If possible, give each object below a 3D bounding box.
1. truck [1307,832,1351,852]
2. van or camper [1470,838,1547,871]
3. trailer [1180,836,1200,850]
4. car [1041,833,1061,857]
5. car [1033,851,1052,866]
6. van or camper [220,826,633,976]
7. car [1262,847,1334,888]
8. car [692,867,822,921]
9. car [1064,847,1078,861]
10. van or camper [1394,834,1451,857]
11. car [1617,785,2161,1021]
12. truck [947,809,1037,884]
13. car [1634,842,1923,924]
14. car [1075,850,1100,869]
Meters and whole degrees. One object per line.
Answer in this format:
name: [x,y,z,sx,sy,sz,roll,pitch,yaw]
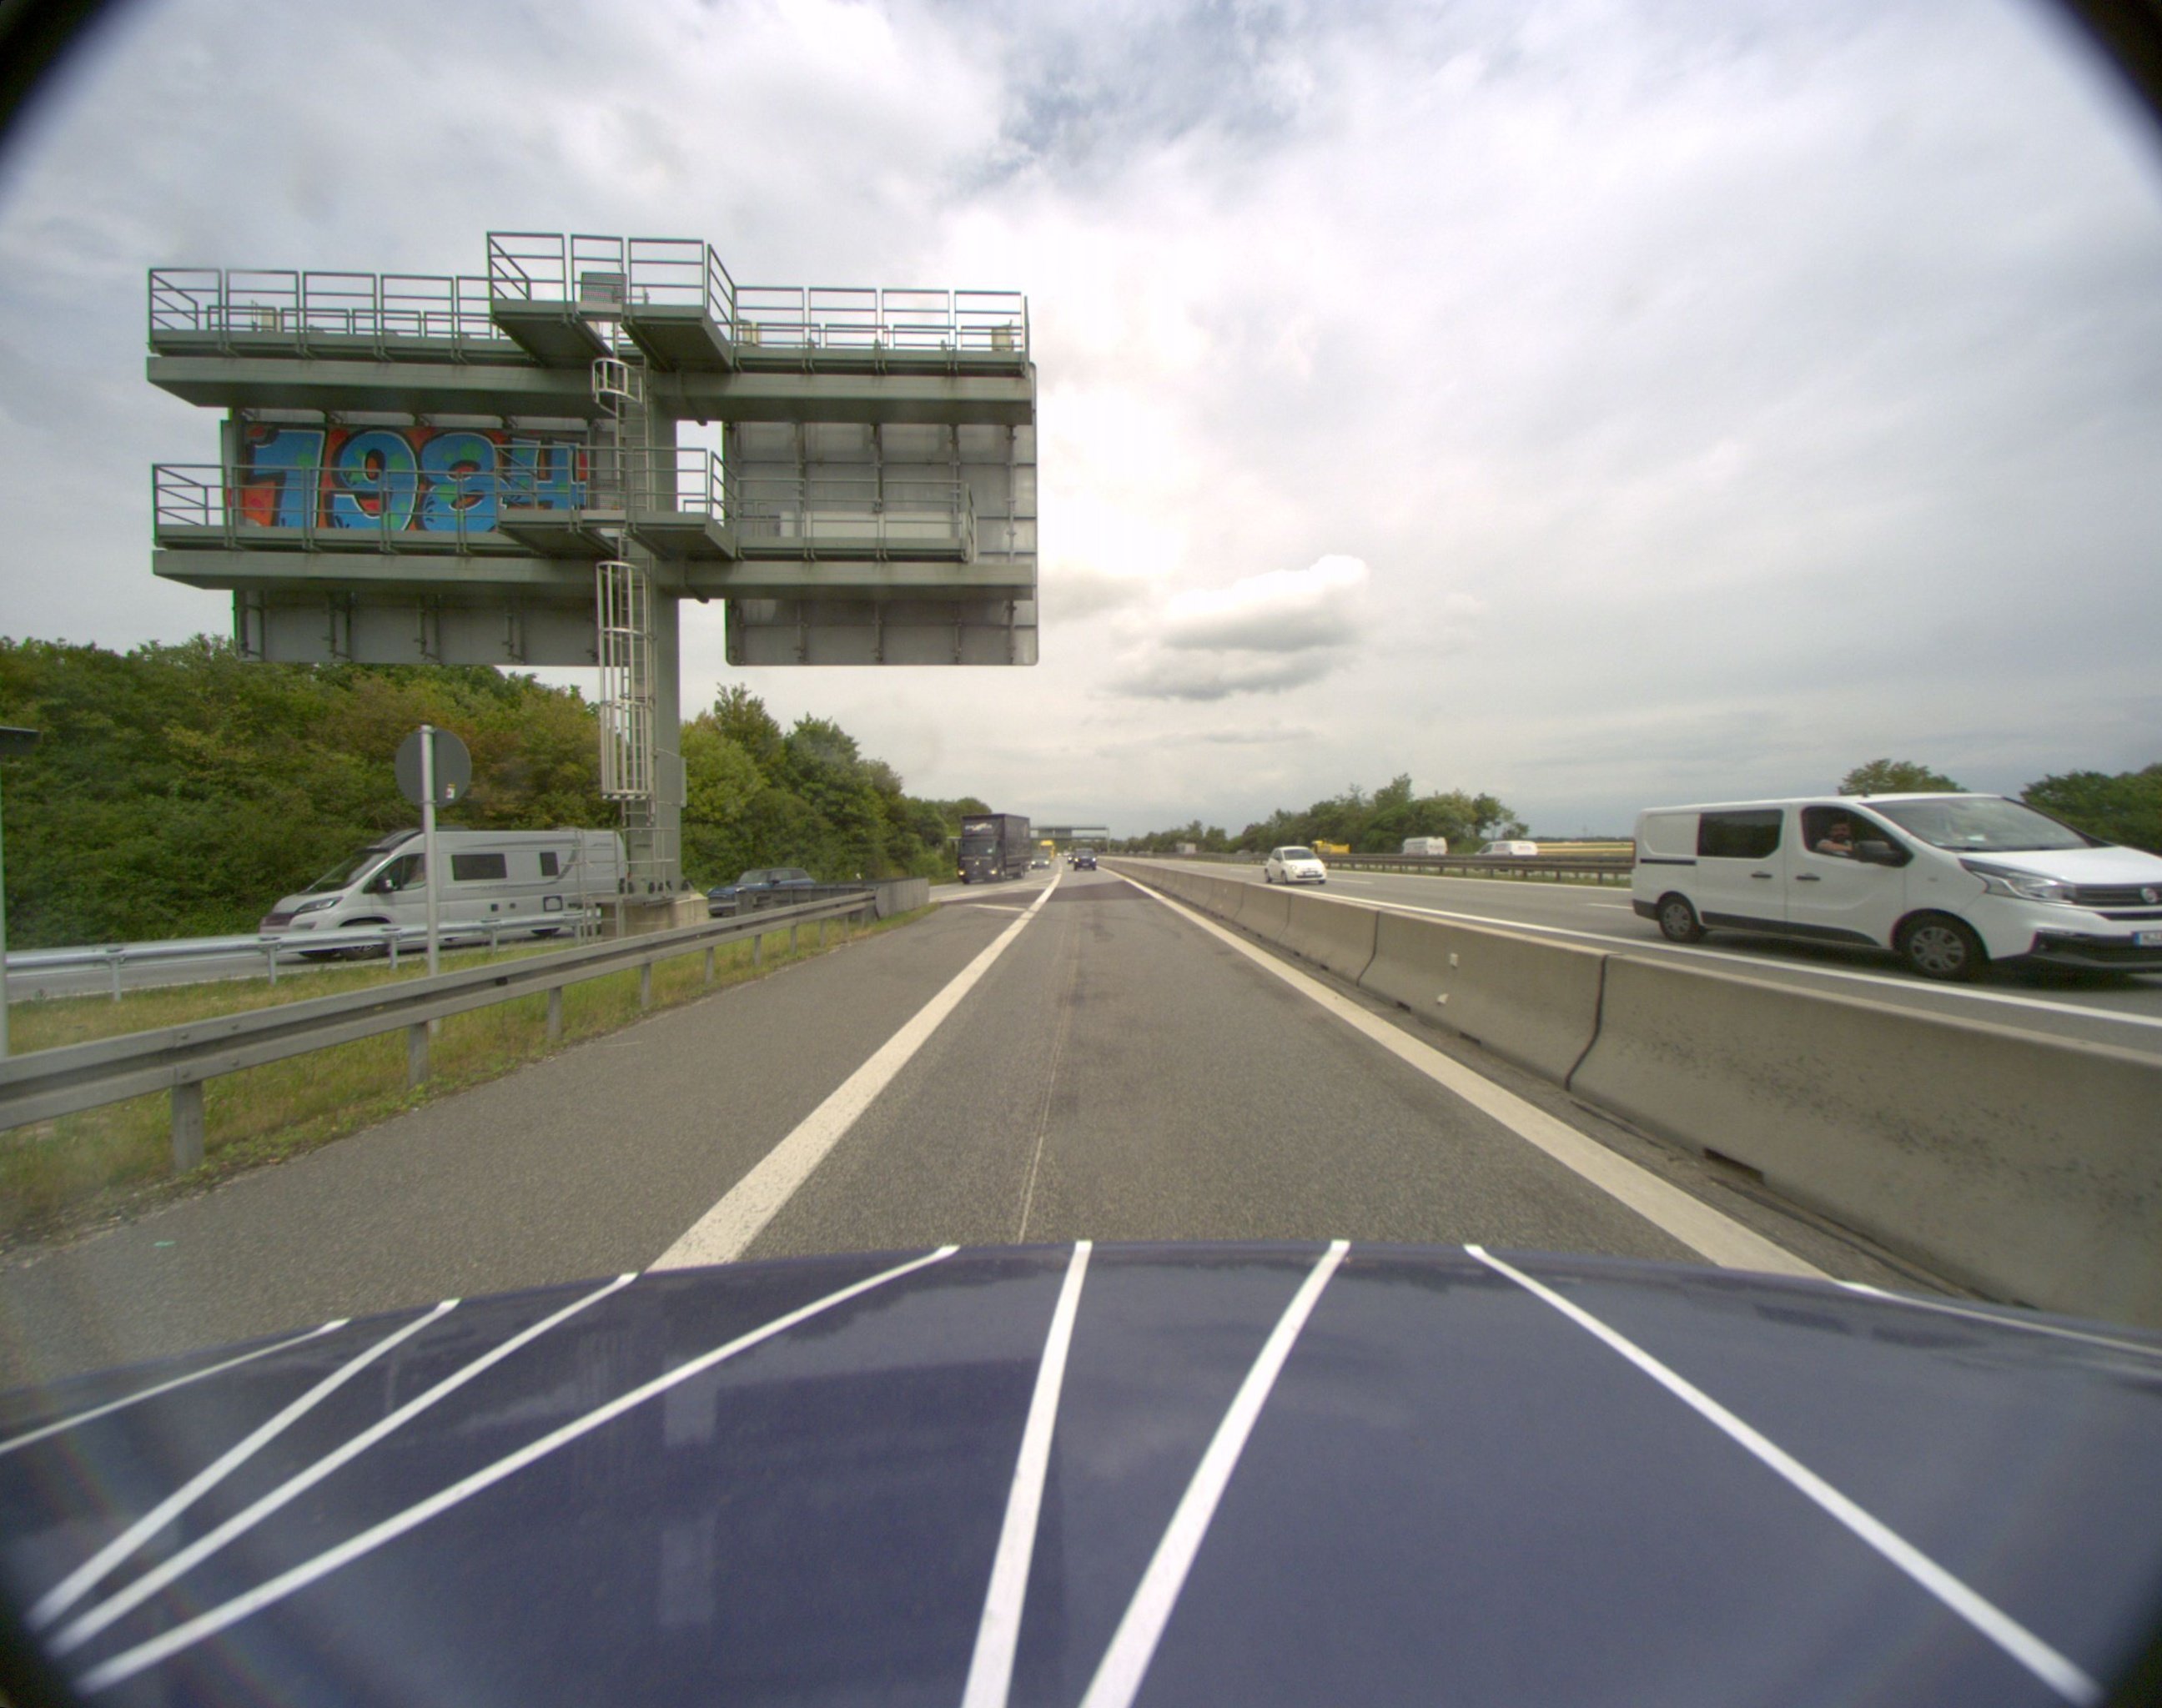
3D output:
truck: [35.090,-1.669,107.753,2.914,2.758,8.778,-2,1,-3]
van or camper: [25.001,0.012,44.638,1.999,1.818,4.346,-2,1,-1]
trailer: [27.983,-2.816,196.107,3.206,3.250,9.820,-2,1,-3]
car: [-5.855,-1.704,150.425,3.395,4.458,11.605,-2,1,1]
car: [-3.836,0.423,75.984,1.866,1.434,3.998,-2,1,-3]
van or camper: [-13.319,0.770,16.176,2.295,2.553,6.171,-1,1,28]
car: [8.680,0.495,30.728,1.685,1.476,3.773,-2,1,-2]
car: [-10.198,1.227,24.208,1.731,1.411,3.670,-2,1,20]
car: [-1.317,-0.016,103.092,1.785,1.761,4.000,-2,1,1]
van or camper: [32.741,-0.808,73.157,2.241,2.002,6.275,-2,0,-4]
car: [9.184,0.344,8.891,2.005,1.927,5.130,-3,1,-3]
truck: [-5.042,-0.468,45.726,3.023,3.932,10.344,-2,1,6]
car: [13.520,0.470,15.143,1.757,1.361,4.204,-2,1,-4]
car: [0.497,0.423,63.233,1.866,1.434,3.998,-2,1,-3]
